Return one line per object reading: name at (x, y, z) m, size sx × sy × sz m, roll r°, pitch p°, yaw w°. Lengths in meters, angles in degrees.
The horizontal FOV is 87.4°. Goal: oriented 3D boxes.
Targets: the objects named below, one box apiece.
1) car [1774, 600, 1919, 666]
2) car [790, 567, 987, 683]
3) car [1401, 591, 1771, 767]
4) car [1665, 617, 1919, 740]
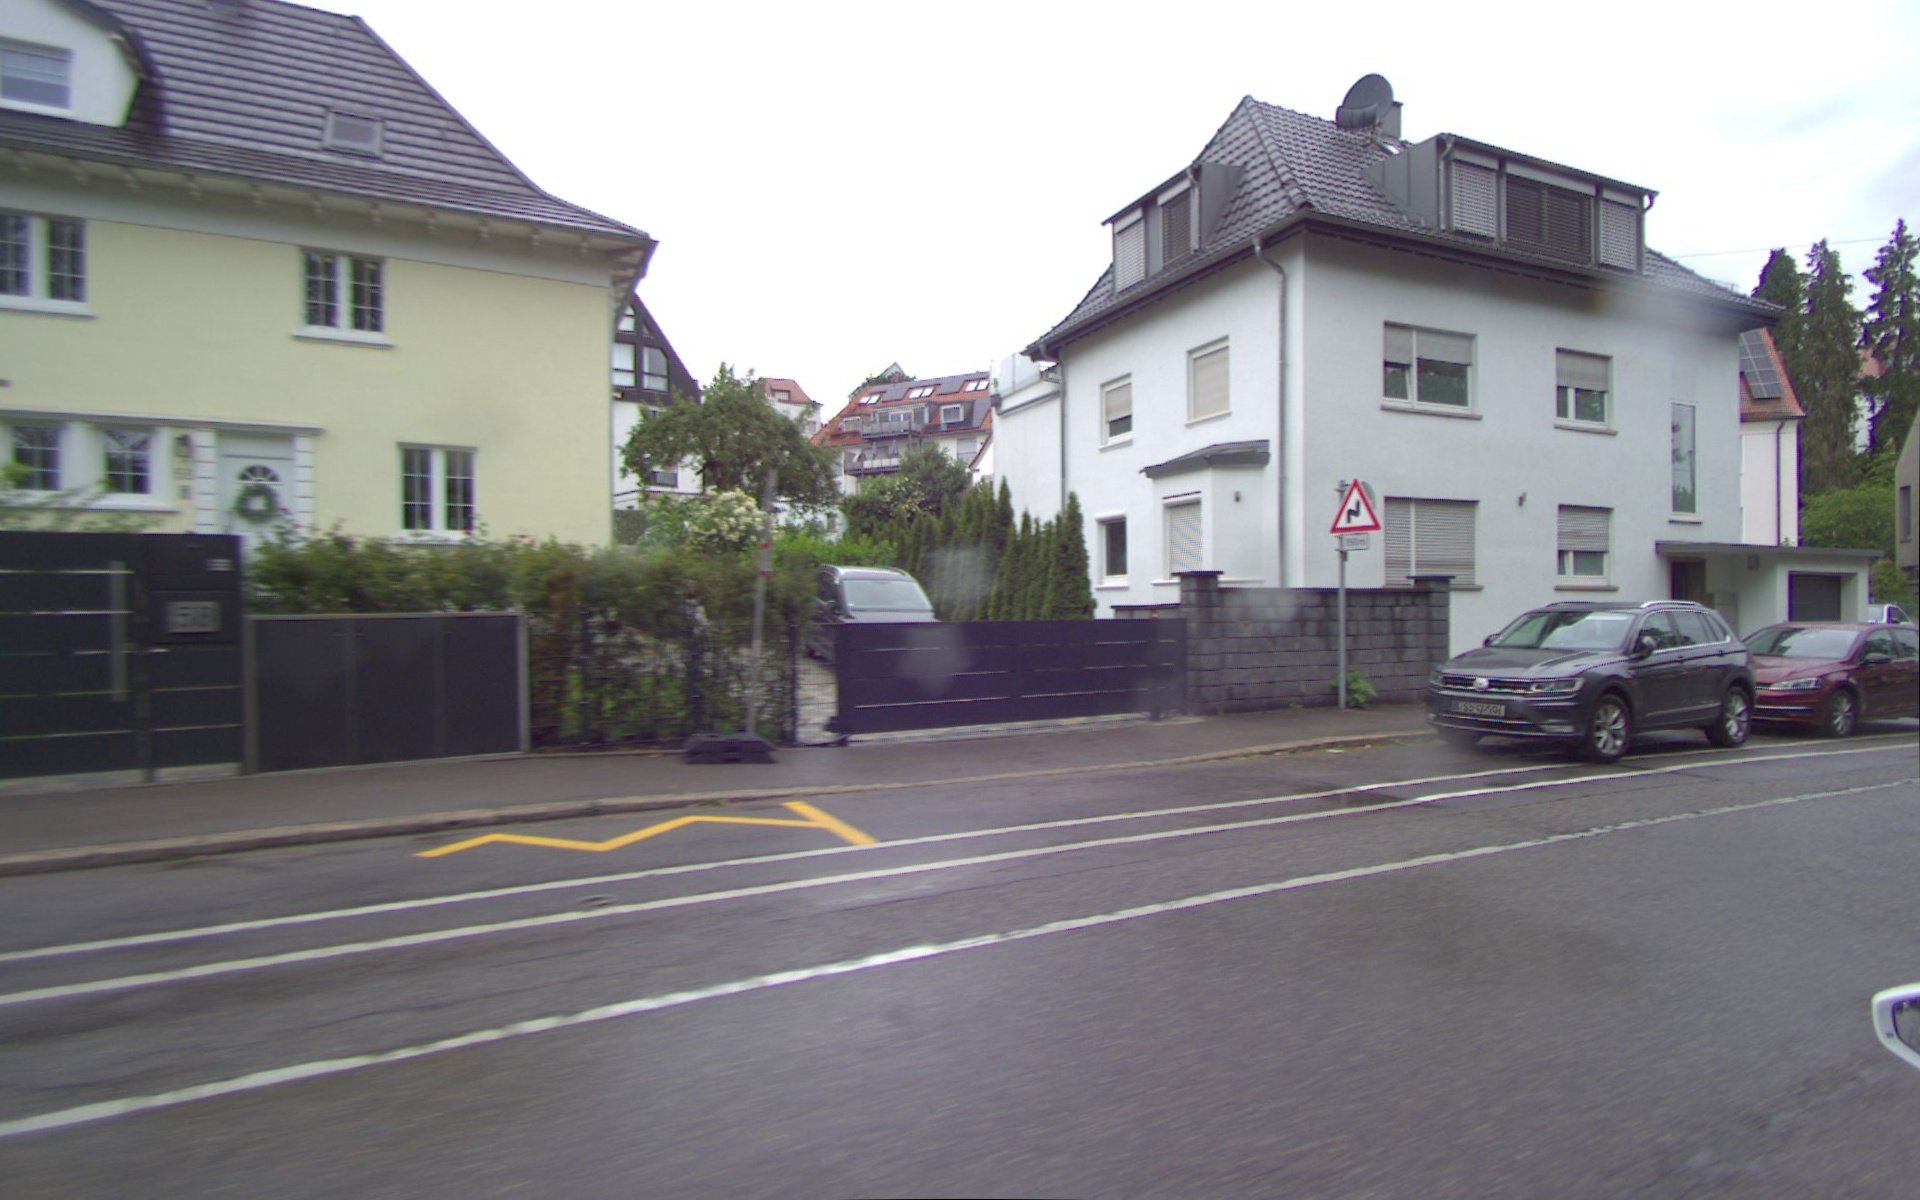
car at (21.627, 0.782, 24.311) m, size 3.571 × 1.483 × 1.769 m, roll 1°, pitch -1°, yaw -28°
car at (-1.309, 0.332, 16.537) m, size 1.714 × 1.617 × 3.969 m, roll 2°, pitch 1°, yaw -29°
car at (7.194, 0.801, 11.449) m, size 4.352 × 1.680 × 1.746 m, roll 1°, pitch -2°, yaw -30°
car at (11.851, 0.982, 13.826) m, size 4.171 × 1.460 × 1.612 m, roll 0°, pitch 0°, yaw -24°
